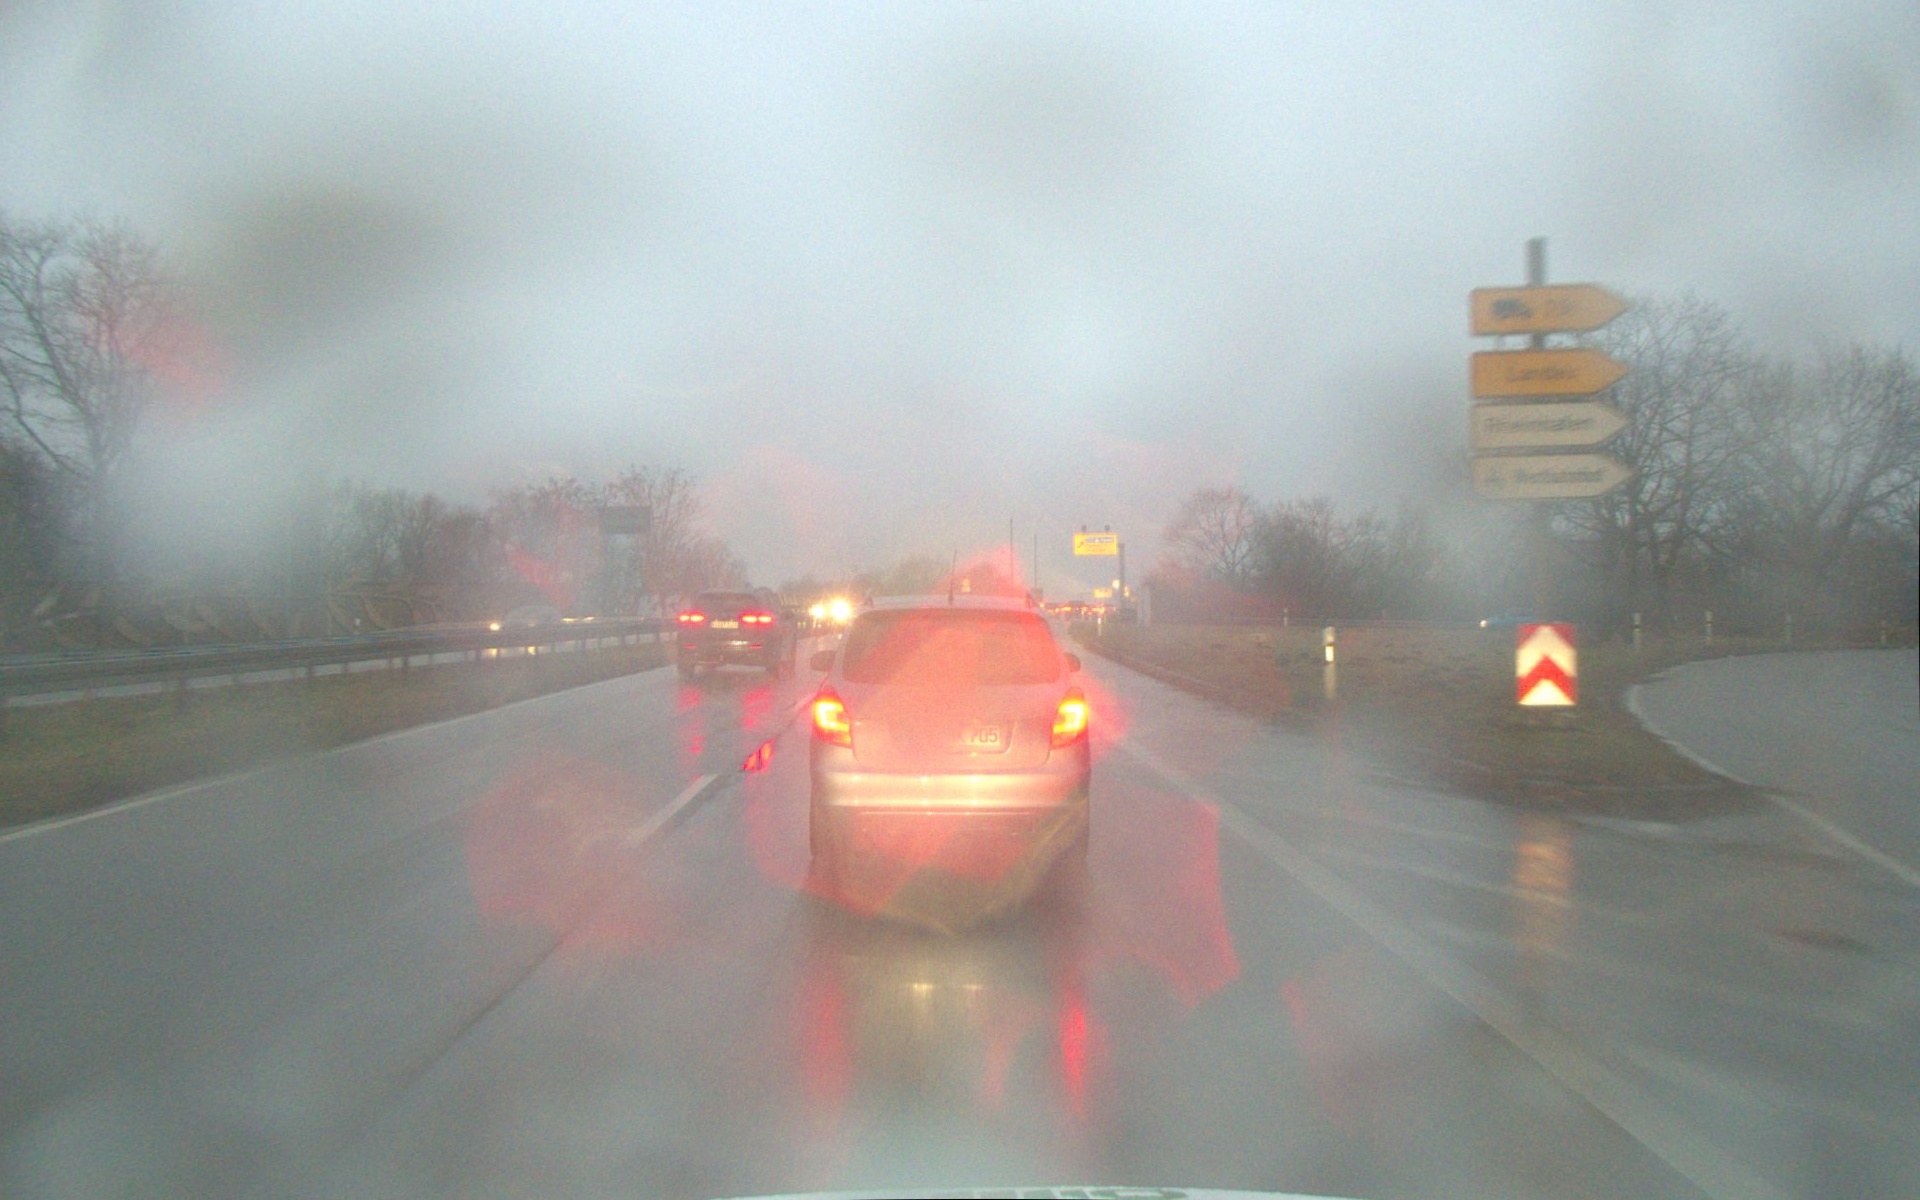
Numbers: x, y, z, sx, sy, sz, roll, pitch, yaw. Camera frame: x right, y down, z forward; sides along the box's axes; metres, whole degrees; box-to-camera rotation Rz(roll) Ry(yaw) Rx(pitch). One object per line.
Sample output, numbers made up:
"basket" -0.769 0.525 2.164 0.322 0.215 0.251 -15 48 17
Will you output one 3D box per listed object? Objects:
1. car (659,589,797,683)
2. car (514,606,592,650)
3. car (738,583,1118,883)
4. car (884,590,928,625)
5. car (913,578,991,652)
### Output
"car" -4.295 0.633 31.251 1.952 1.629 4.308 1 0 0
"car" -15.100 1.017 61.538 1.746 1.560 4.053 -1 -1 2
"car" -0.127 0.708 10.639 1.952 1.527 4.138 -1 -1 1
"car" -2.495 0.331 77.392 1.752 1.572 4.001 -1 0 2
"car" -0.157 0.363 43.094 1.858 1.798 4.310 -1 0 2
